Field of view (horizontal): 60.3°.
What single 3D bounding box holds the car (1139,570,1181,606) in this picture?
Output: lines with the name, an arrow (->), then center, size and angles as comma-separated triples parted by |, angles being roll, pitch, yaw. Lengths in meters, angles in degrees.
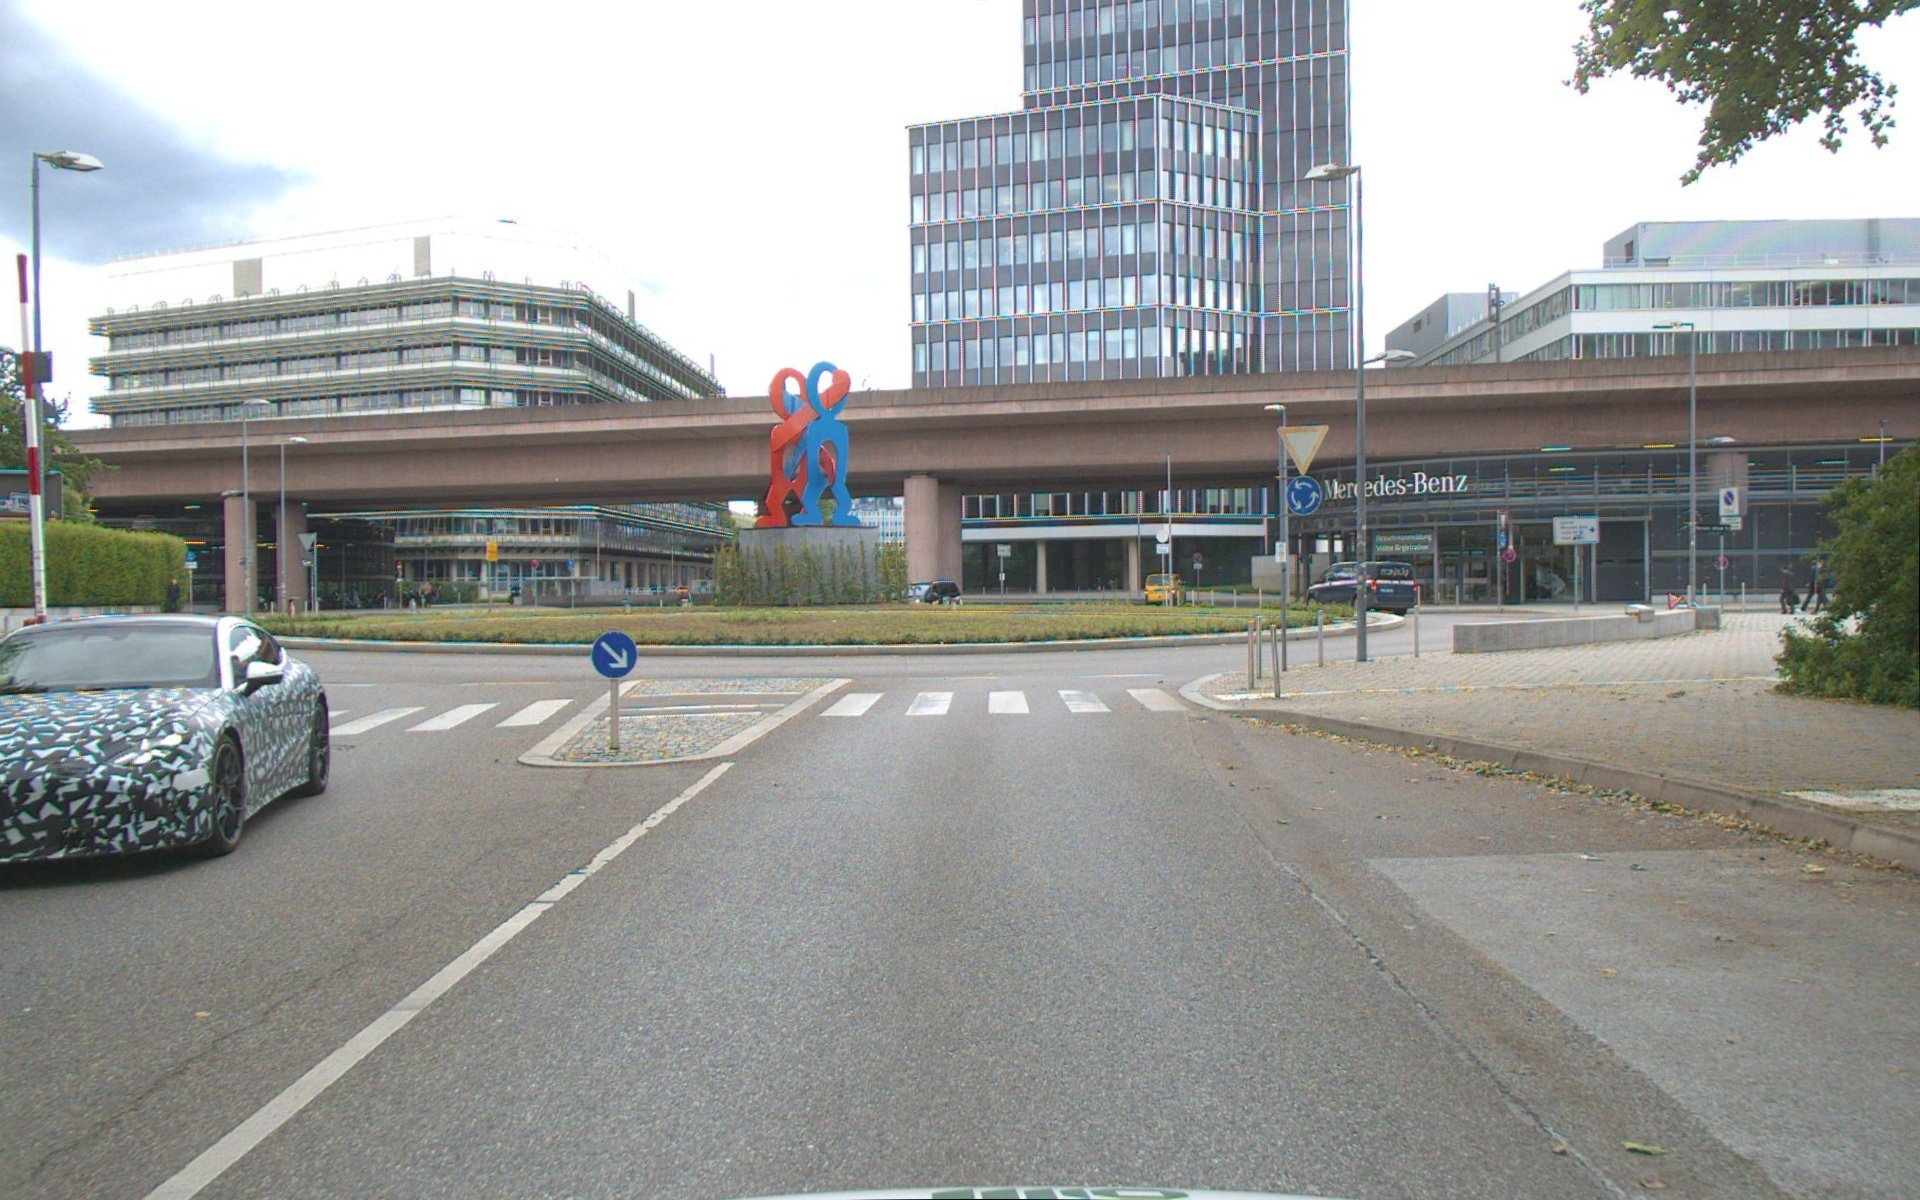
car -> 11.840, -0.709, 97.859 | 1.951, 2.049, 4.003 | 0, 0, 15

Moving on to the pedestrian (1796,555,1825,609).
pedestrian -> 27.981, -0.584, 54.403 | 0.814, 1.771, 0.690 | 0, 0, 25

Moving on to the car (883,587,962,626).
car -> -1.777, 0.302, 79.024 | 1.957, 1.803, 3.991 | 0, 0, 31

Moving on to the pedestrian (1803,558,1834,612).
pedestrian -> 28.562, -0.491, 55.027 | 0.814, 1.771, 0.690 | 0, 0, 21

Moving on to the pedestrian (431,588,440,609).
pedestrian -> -51.207, -0.141, 161.450 | 0.766, 2.049, 0.665 | 0, 0, -26

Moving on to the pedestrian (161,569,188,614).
pedestrian -> -35.884, -0.402, 75.583 | 1.025, 2.049, 0.597 | 0, 0, -14

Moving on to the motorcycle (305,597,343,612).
motorcycle -> -46.817, 0.333, 121.752 | 2.597, 1.132, 1.040 | 0, 0, 19

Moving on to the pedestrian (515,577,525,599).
pedestrian -> -42.752, -1.170, 160.585 | 0.760, 2.049, 0.670 | -1, 1, -2

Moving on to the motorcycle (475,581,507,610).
motorcycle -> -20.756, -0.189, 73.228 | 0.654, 1.273, 1.886 | 0, 0, 8

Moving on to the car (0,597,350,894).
car -> -5.440, 0.772, 10.982 | 1.867, 1.478, 4.800 | -2, 1, -12

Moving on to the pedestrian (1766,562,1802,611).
pedestrian -> 26.864, -0.438, 53.919 | 0.814, 1.597, 0.690 | 0, 0, -2

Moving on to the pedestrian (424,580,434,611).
pedestrian -> -35.666, -0.298, 111.093 | 0.578, 2.049, 0.597 | 0, 0, -14

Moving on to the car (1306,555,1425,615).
car -> 14.379, -0.528, 58.948 | 2.237, 2.049, 4.767 | 0, 0, -13
